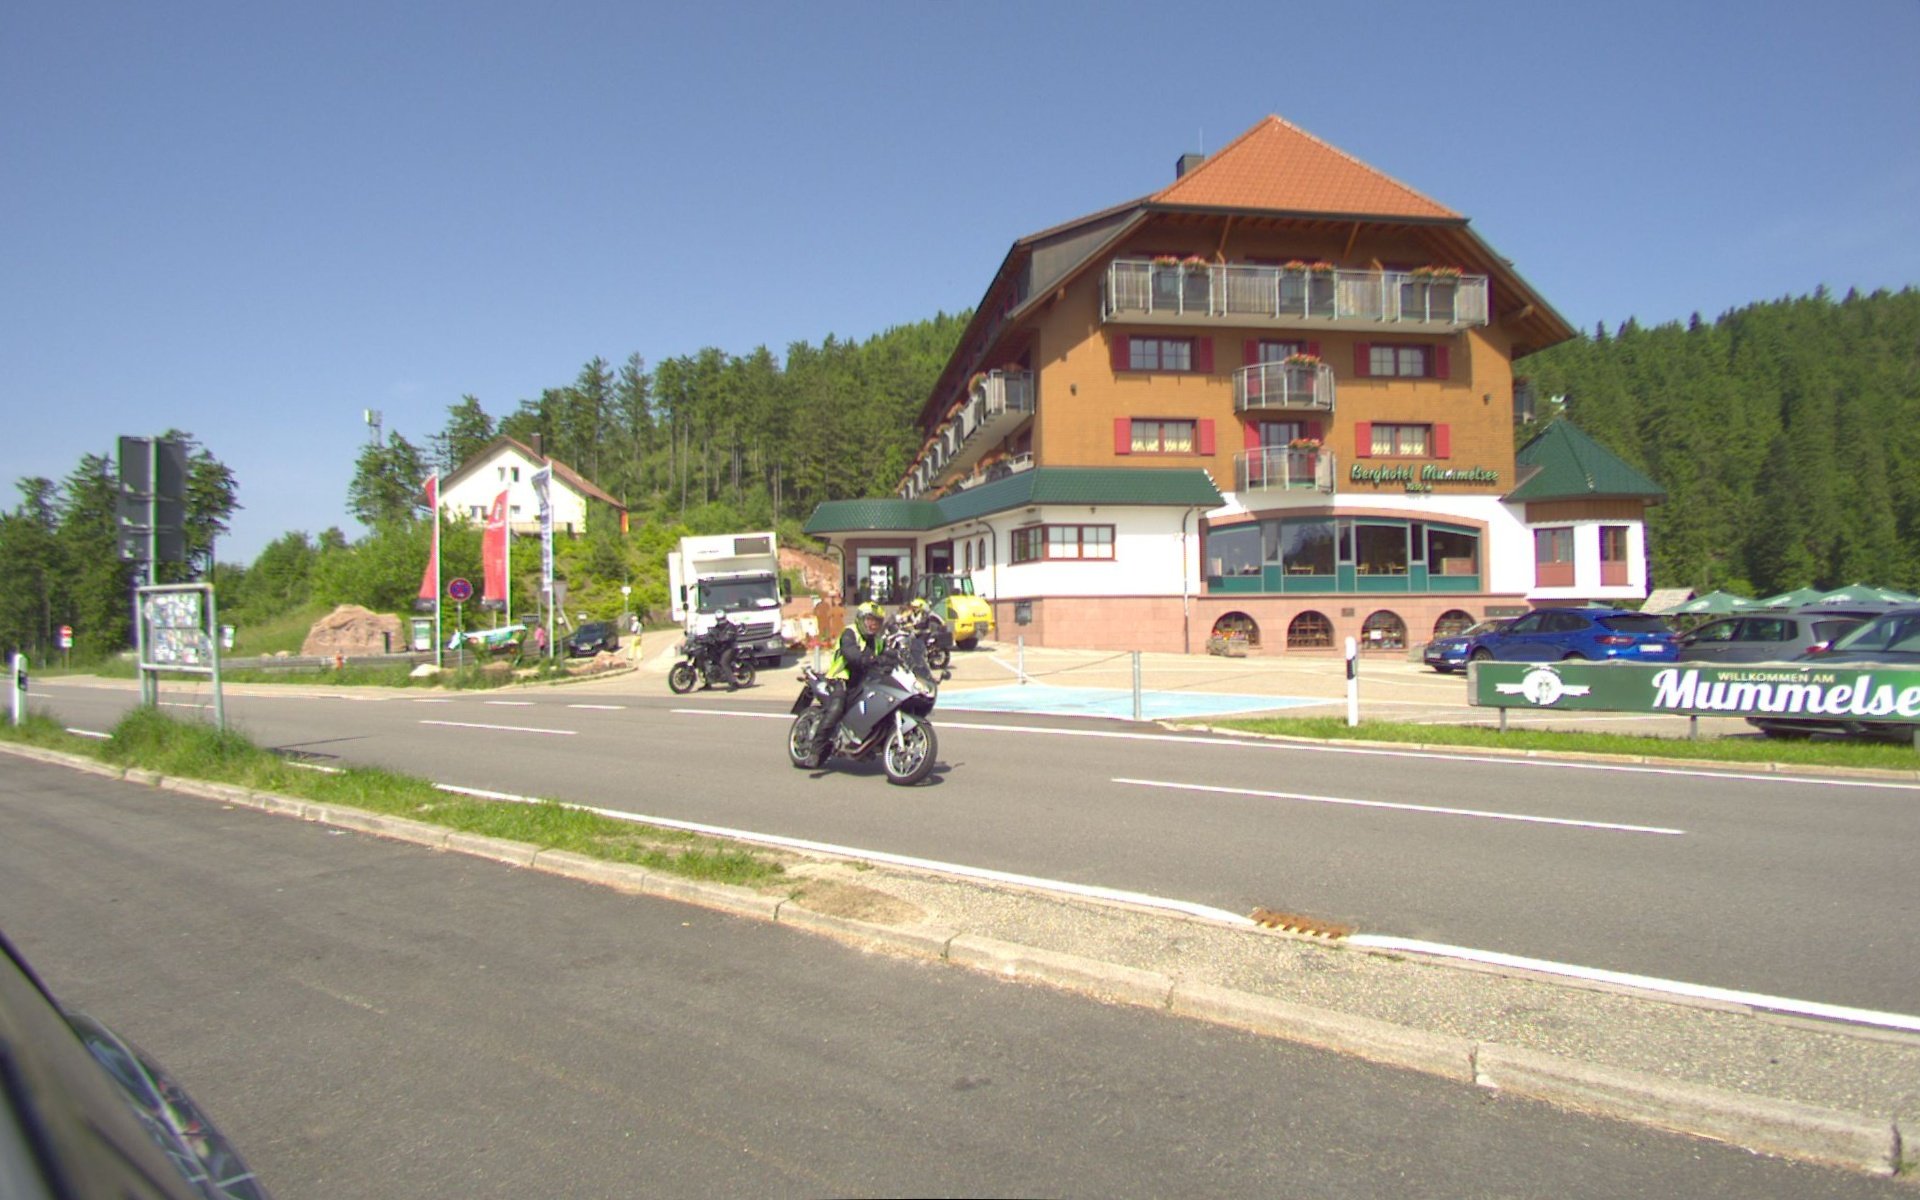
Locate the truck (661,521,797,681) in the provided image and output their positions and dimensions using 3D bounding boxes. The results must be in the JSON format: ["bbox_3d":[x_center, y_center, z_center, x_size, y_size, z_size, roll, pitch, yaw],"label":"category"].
[{"bbox_3d":[-7.213,-0.017,30.507,3.018,4.002,8.799,-3,1,-18],"label":"truck"}]

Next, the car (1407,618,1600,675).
[{"bbox_3d":[13.492,1.156,25.230,3.936,1.307,1.717,-1,-2,-8],"label":"car"}]

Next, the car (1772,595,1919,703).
[{"bbox_3d":[17.608,0.869,18.244,1.806,1.878,4.537,-1,-2,-8],"label":"car"}]

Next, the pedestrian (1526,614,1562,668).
[{"bbox_3d":[18.154,1.262,31.456,0.692,1.645,0.626,-1,-2,-2],"label":"pedestrian"}]

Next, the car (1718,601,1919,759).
[{"bbox_3d":[11.065,0.809,11.176,4.127,1.552,1.810,-1,-2,-7],"label":"car"}]

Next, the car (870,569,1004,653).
[{"bbox_3d":[-0.768,0.350,32.526,3.998,2.515,1.973,0,-1,41],"label":"car"}]

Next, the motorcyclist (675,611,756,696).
[{"bbox_3d":[-5.274,1.135,21.830,1.427,1.731,0.928,-1,-2,-33],"label":"motorcyclist"}]

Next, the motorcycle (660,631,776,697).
[{"bbox_3d":[-5.209,1.363,21.840,2.239,1.266,0.881,-1,-2,-33],"label":"motorcycle"}]

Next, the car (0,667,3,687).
[{"bbox_3d":[-93.225,7.245,94.941,1.929,1.896,4.672,-3,-6,37],"label":"car"}]

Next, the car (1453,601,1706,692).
[{"bbox_3d":[12.712,0.913,21.207,1.908,1.676,4.555,0,-1,-11],"label":"car"}]

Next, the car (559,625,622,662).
[{"bbox_3d":[-17.452,2.017,47.963,1.851,1.364,4.006,0,3,-5],"label":"car"}]

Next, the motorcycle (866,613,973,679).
[{"bbox_3d":[-1.015,1.111,25.129,2.403,1.417,1.009,-3,1,-18],"label":"motorcycle"}]

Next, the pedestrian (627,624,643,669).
[{"bbox_3d":[-12.495,1.777,38.850,0.565,1.702,0.655,0,-3,-19],"label":"pedestrian"}]

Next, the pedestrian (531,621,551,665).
[{"bbox_3d":[-16.648,1.704,40.182,0.687,1.729,0.801,0,-3,-19],"label":"pedestrian"}]

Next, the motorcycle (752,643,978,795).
[{"bbox_3d":[-0.931,0.999,9.228,0.812,1.186,2.289,0,-2,-42],"label":"motorcycle"}]

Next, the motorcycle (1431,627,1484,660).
[{"bbox_3d":[17.298,1.510,35.212,0.473,0.992,1.796,-6,3,-18],"label":"motorcycle"}]

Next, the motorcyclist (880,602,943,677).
[{"bbox_3d":[-1.211,0.957,25.095,1.227,1.732,1.068,-3,1,-18],"label":"motorcyclist"}]

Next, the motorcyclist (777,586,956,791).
[{"bbox_3d":[-0.860,0.742,9.163,1.013,1.688,1.294,0,-2,-43],"label":"motorcyclist"}]

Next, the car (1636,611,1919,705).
[{"bbox_3d":[15.327,1.051,19.126,1.968,1.557,4.007,0,-2,-9],"label":"car"}]
